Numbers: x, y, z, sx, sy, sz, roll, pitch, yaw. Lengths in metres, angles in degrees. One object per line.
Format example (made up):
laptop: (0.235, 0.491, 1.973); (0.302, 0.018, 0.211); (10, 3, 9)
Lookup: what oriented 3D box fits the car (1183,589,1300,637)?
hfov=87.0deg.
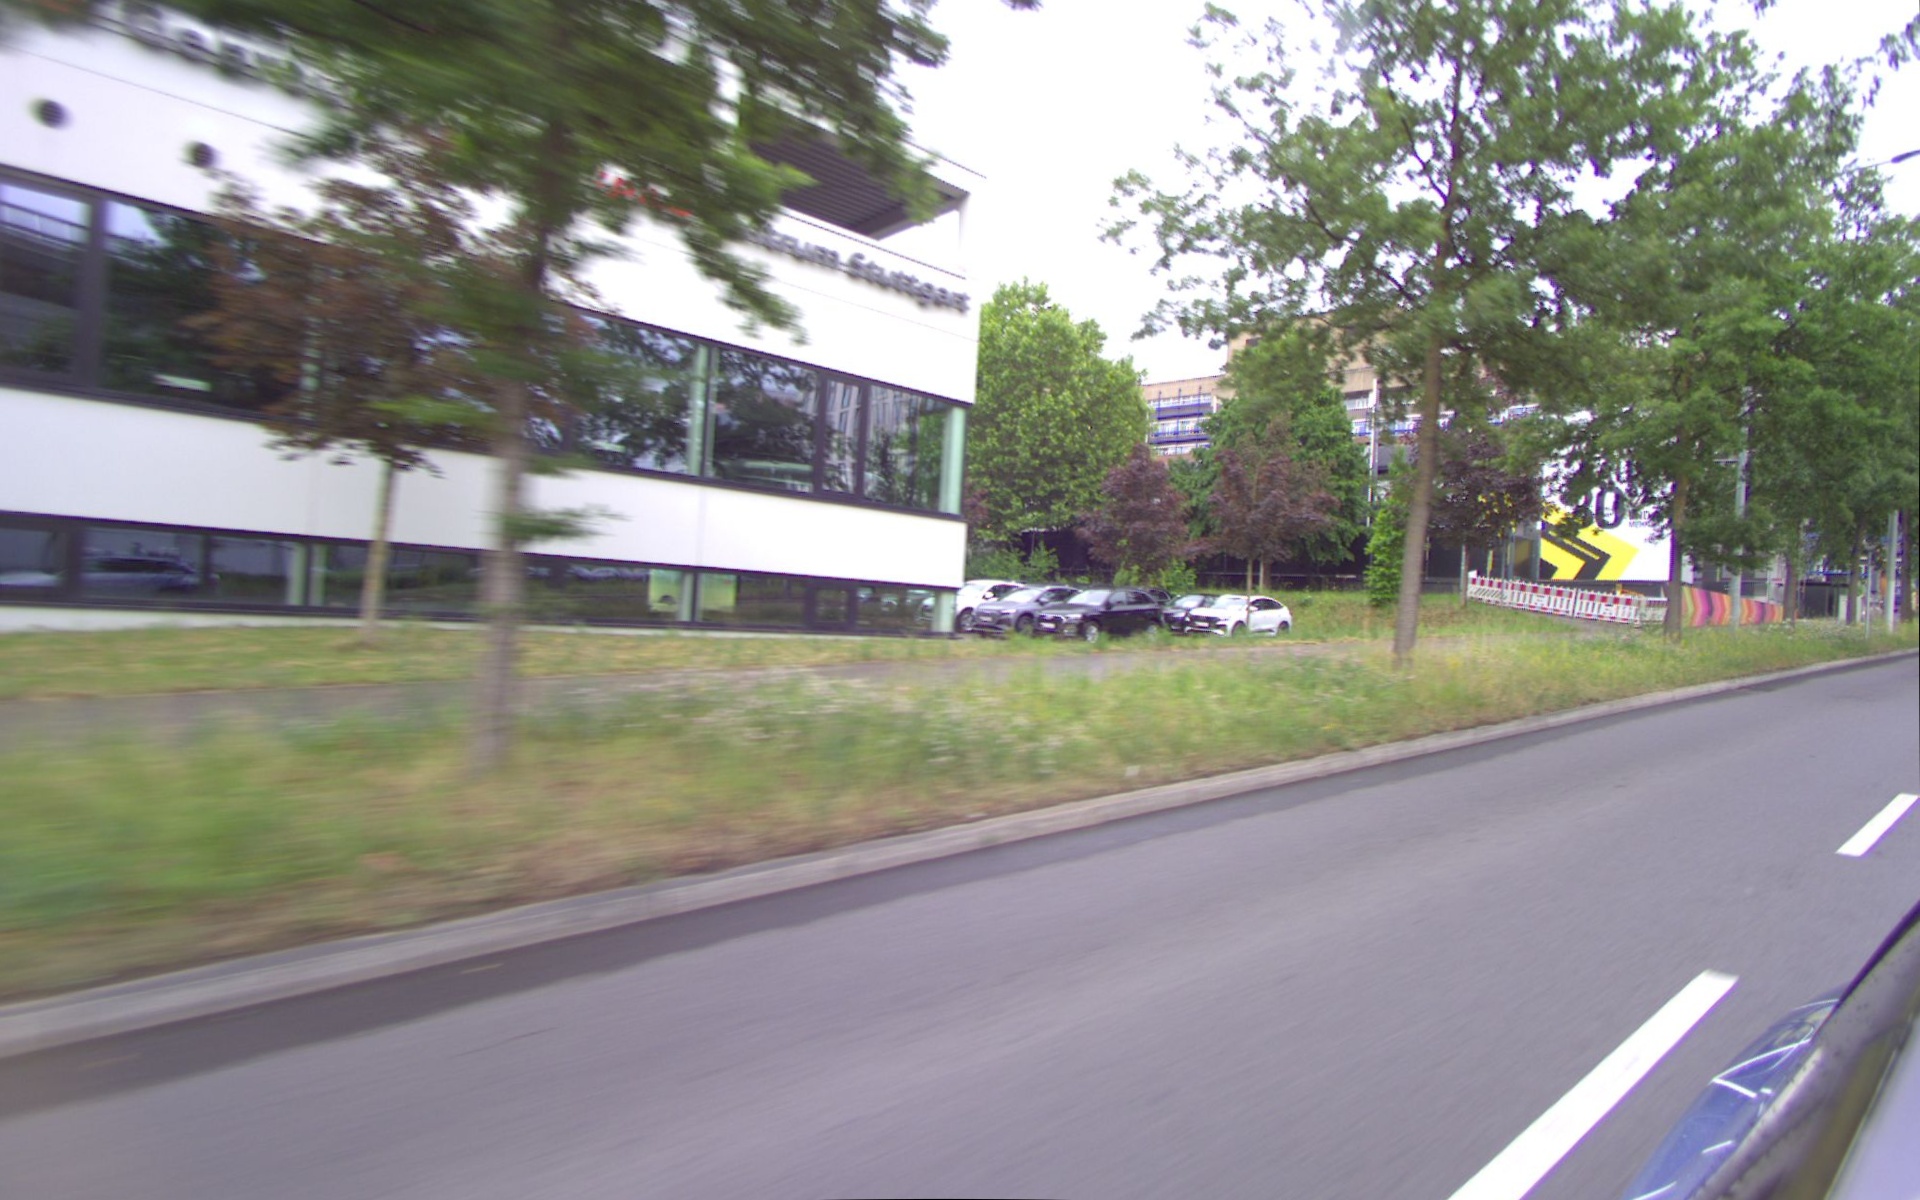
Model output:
car: (9.583, 0.394, 34.280); (4.384, 1.503, 1.700); (-1, 0, -42)

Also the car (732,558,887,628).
car: (-4.511, -0.205, 30.877); (4.443, 1.697, 1.704); (5, 0, -3)

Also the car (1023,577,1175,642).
car: (4.111, 0.219, 29.540); (4.510, 1.696, 1.906); (-1, 3, -41)

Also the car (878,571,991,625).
car: (-0.832, -0.070, 34.324); (3.579, 1.697, 1.700); (-1, -1, -41)

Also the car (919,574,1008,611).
car: (0.187, -0.309, 43.147); (3.579, 1.503, 1.700); (-1, 0, -41)

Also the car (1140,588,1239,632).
car: (8.289, 0.326, 36.470); (3.579, 1.503, 1.700); (-1, 0, -41)

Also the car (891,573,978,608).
car: (-1.089, -0.421, 44.648); (3.579, 1.503, 1.700); (-1, 0, -41)

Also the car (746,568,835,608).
car: (-7.537, -0.521, 45.231); (3.579, 1.697, 1.700); (-1, 0, -41)

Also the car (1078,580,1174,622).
car: (6.275, 0.026, 38.179); (3.579, 1.503, 1.700); (-1, 0, -41)

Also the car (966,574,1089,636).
car: (2.107, 0.116, 30.961); (3.579, 1.696, 1.701); (-1, 4, -41)

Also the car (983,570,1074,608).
car: (2.850, -0.462, 41.628); (3.579, 1.503, 1.700); (-1, 0, -41)

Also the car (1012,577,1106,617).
car: (3.906, -0.114, 39.627); (3.579, 1.503, 1.700); (-1, 0, -41)

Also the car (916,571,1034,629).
car: (0.517, -0.030, 32.890); (3.579, 1.696, 1.701); (-1, 4, -41)
